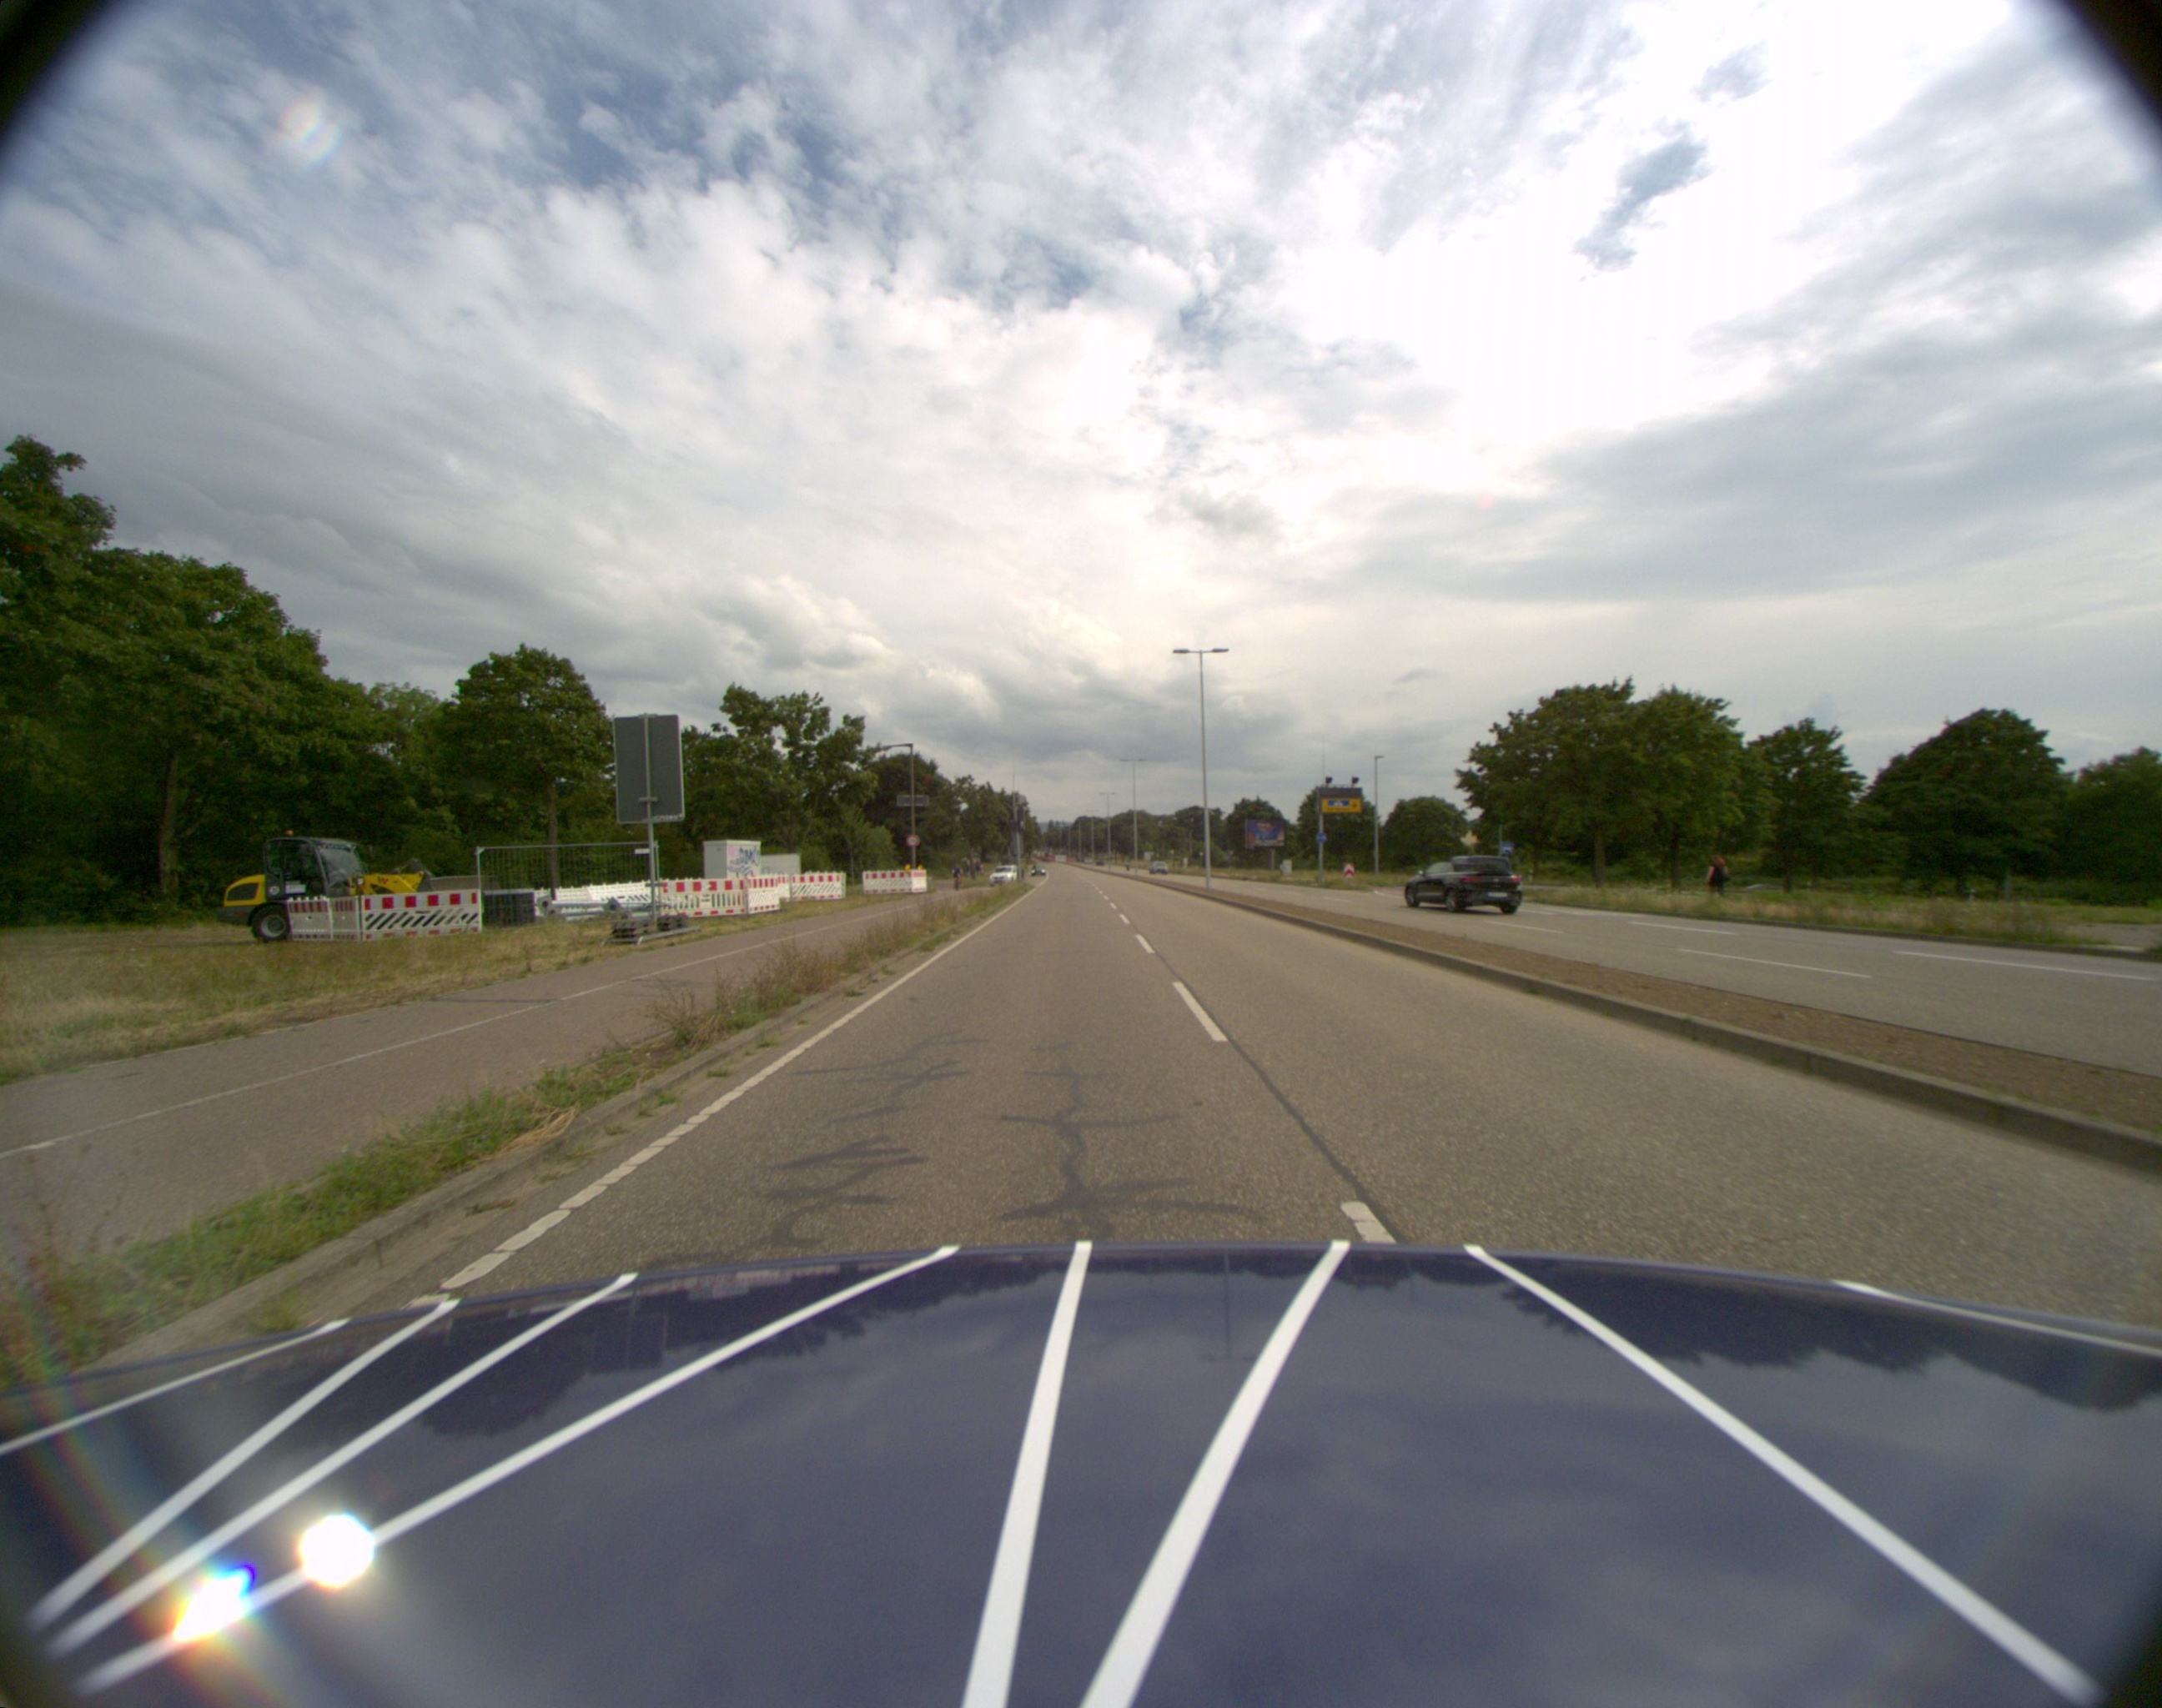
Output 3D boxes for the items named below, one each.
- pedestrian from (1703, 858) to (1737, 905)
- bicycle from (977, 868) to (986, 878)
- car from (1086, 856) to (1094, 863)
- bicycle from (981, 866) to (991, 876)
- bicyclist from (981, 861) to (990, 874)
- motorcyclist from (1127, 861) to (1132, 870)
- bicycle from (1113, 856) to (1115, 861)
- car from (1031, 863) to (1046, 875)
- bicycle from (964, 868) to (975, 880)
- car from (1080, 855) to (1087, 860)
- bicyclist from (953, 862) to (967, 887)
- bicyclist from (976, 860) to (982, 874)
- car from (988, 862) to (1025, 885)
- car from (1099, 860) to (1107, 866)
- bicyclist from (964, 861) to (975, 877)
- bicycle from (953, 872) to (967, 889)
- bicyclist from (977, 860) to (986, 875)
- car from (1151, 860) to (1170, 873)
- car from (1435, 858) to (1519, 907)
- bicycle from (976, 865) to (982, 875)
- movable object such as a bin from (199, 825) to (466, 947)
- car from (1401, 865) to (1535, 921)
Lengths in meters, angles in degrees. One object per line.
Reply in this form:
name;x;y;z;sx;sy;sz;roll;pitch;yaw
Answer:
pedestrian;23.245;1.001;27.657;0.865;1.683;0.681;0;0;34
bicycle;-10.418;1.952;79.565;0.597;1.030;2.195;-1;-1;-1
car;2.404;1.465;206.603;1.773;1.644;4.637;1;0;-3
bicycle;-10.363;1.849;83.073;0.621;1.000;1.788;1;0;6
bicyclist;-10.401;1.468;82.921;0.742;1.465;0.806;-2;1;6
motorcyclist;8.349;2.044;130.873;0.772;1.578;0.896;0;0;-2
bicycle;9.819;1.234;226.478;0.537;1.414;2.166;1;0;-3
car;-5.358;1.903;96.163;1.773;1.439;4.322;-1;0;-5
bicycle;-10.997;1.971;75.014;0.621;1.000;2.103;1;2;6
car;0.743;1.003;231.540;1.852;1.644;4.563;0;0;-3
bicyclist;-8.273;1.421;51.977;0.653;1.648;0.876;-2;1;4
bicyclist;-12.898;1.622;96.103;0.653;1.648;0.780;-2;1;-3
car;-5.716;1.486;58.691;1.851;1.493;4.002;-4;0;8
car;5.393;2.201;186.730;1.773;1.523;4.739;0;0;-3
bicyclist;-11.019;1.454;75.003;0.742;1.509;0.958;-2;1;6
bicycle;-8.259;1.797;51.918;0.574;1.141;1.983;0;-1;4
bicyclist;-10.439;1.445;79.531;0.743;1.509;0.958;-2;1;-2
car;9.961;1.586;95.656;1.852;1.591;4.561;0;-1;-1
car;17.014;1.158;32.942;1.850;1.882;5.511;2;0;13
bicycle;-12.879;2.018;96.164;0.515;1.141;2.231;0;0;-3
movable object such as a bin;-18.172;0.738;18.602;4.511;2.673;2.102;-2;1;4
car;11.167;1.065;22.260;1.768;1.432;4.177;1;-1;0
